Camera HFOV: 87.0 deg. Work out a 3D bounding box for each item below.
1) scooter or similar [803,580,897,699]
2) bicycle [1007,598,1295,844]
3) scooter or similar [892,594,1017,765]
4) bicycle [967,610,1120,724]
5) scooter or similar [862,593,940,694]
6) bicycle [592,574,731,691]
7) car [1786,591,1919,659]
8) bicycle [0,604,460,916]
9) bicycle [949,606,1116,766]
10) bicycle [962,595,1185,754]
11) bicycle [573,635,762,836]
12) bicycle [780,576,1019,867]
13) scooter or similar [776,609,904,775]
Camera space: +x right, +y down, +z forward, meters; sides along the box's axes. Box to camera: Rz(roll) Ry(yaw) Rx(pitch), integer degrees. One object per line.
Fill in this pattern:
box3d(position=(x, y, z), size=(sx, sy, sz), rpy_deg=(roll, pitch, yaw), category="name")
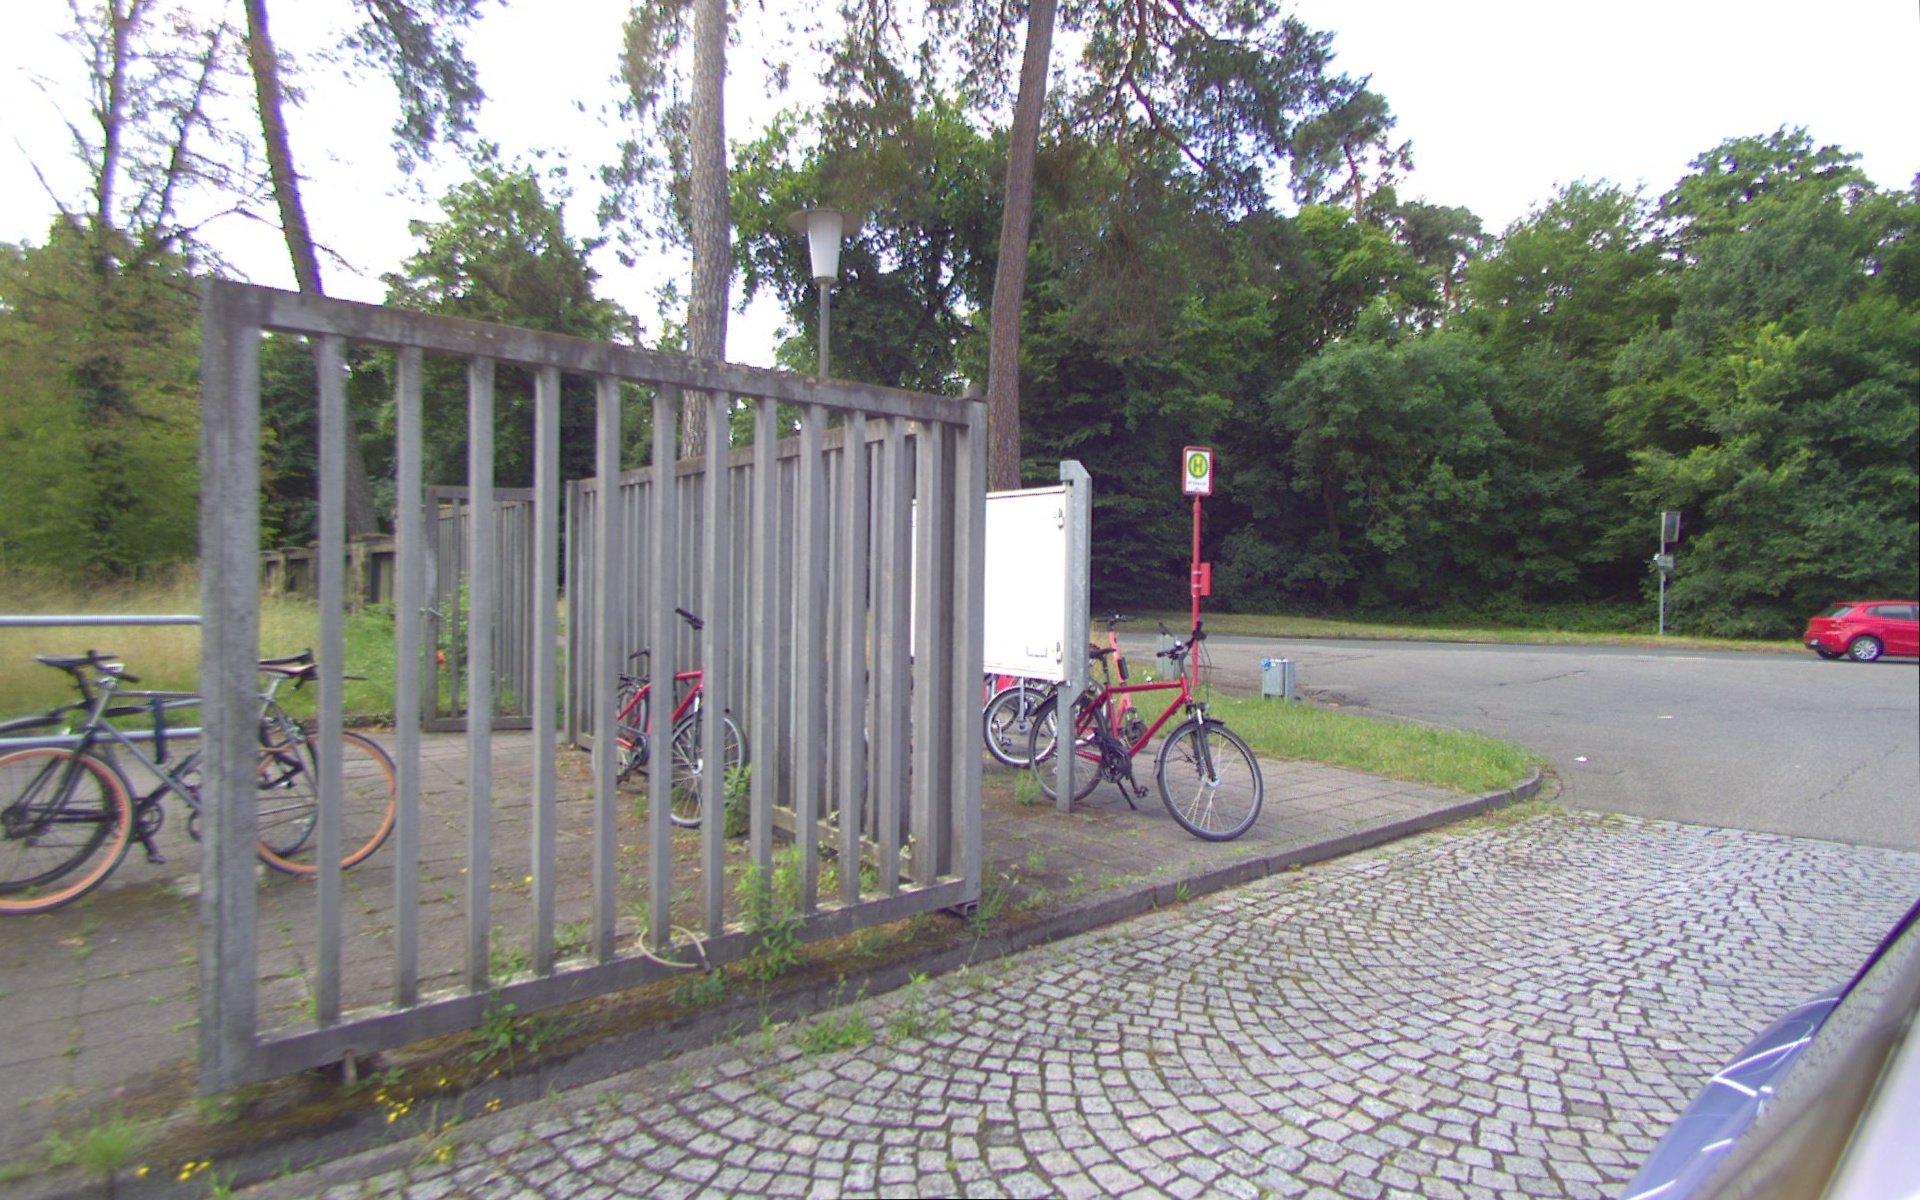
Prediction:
box3d(position=(-1.416, 0.482, 12.897), size=(0.520, 1.435, 1.251), rpy_deg=(4, -1, -39), category="scooter or similar")
box3d(position=(1.162, 0.668, 6.465), size=(0.661, 1.293, 1.736), rpy_deg=(0, 2, -43), category="bicycle")
box3d(position=(-0.071, 0.599, 8.312), size=(0.379, 1.261, 1.285), rpy_deg=(1, 1, -33), category="scooter or similar")
box3d(position=(0.907, 0.704, 11.333), size=(0.728, 1.098, 1.680), rpy_deg=(-2, 2, -41), category="bicycle")
box3d(position=(-0.795, 0.556, 13.571), size=(0.431, 1.243, 1.088), rpy_deg=(-2, 3, -44), category="scooter or similar")
box3d(position=(-3.913, 0.410, 13.417), size=(0.585, 1.435, 1.776), rpy_deg=(1, 0, 34), category="bicycle")
box3d(position=(22.364, 0.579, 23.725), size=(4.150, 1.482, 1.987), rpy_deg=(1, 1, 20), category="car")
box3d(position=(-3.262, 0.634, 4.591), size=(1.685, 1.185, 0.502), rpy_deg=(2, 0, -41), category="bicycle")
box3d(position=(0.575, 0.674, 8.643), size=(0.610, 1.177, 1.613), rpy_deg=(2, 1, -29), category="bicycle")
box3d(position=(0.999, 0.622, 9.461), size=(0.625, 1.255, 2.169), rpy_deg=(-1, 2, -44), category="bicycle")
box3d(position=(-1.904, 0.764, 6.391), size=(0.449, 0.980, 1.951), rpy_deg=(0, 1, -38), category="bicycle")
box3d(position=(-0.434, 0.587, 5.985), size=(0.506, 1.434, 1.907), rpy_deg=(-1, 2, -34), category="bicycle")
box3d(position=(-0.905, 0.663, 7.897), size=(0.433, 1.165, 1.243), rpy_deg=(1, 0, 22), category="scooter or similar")
